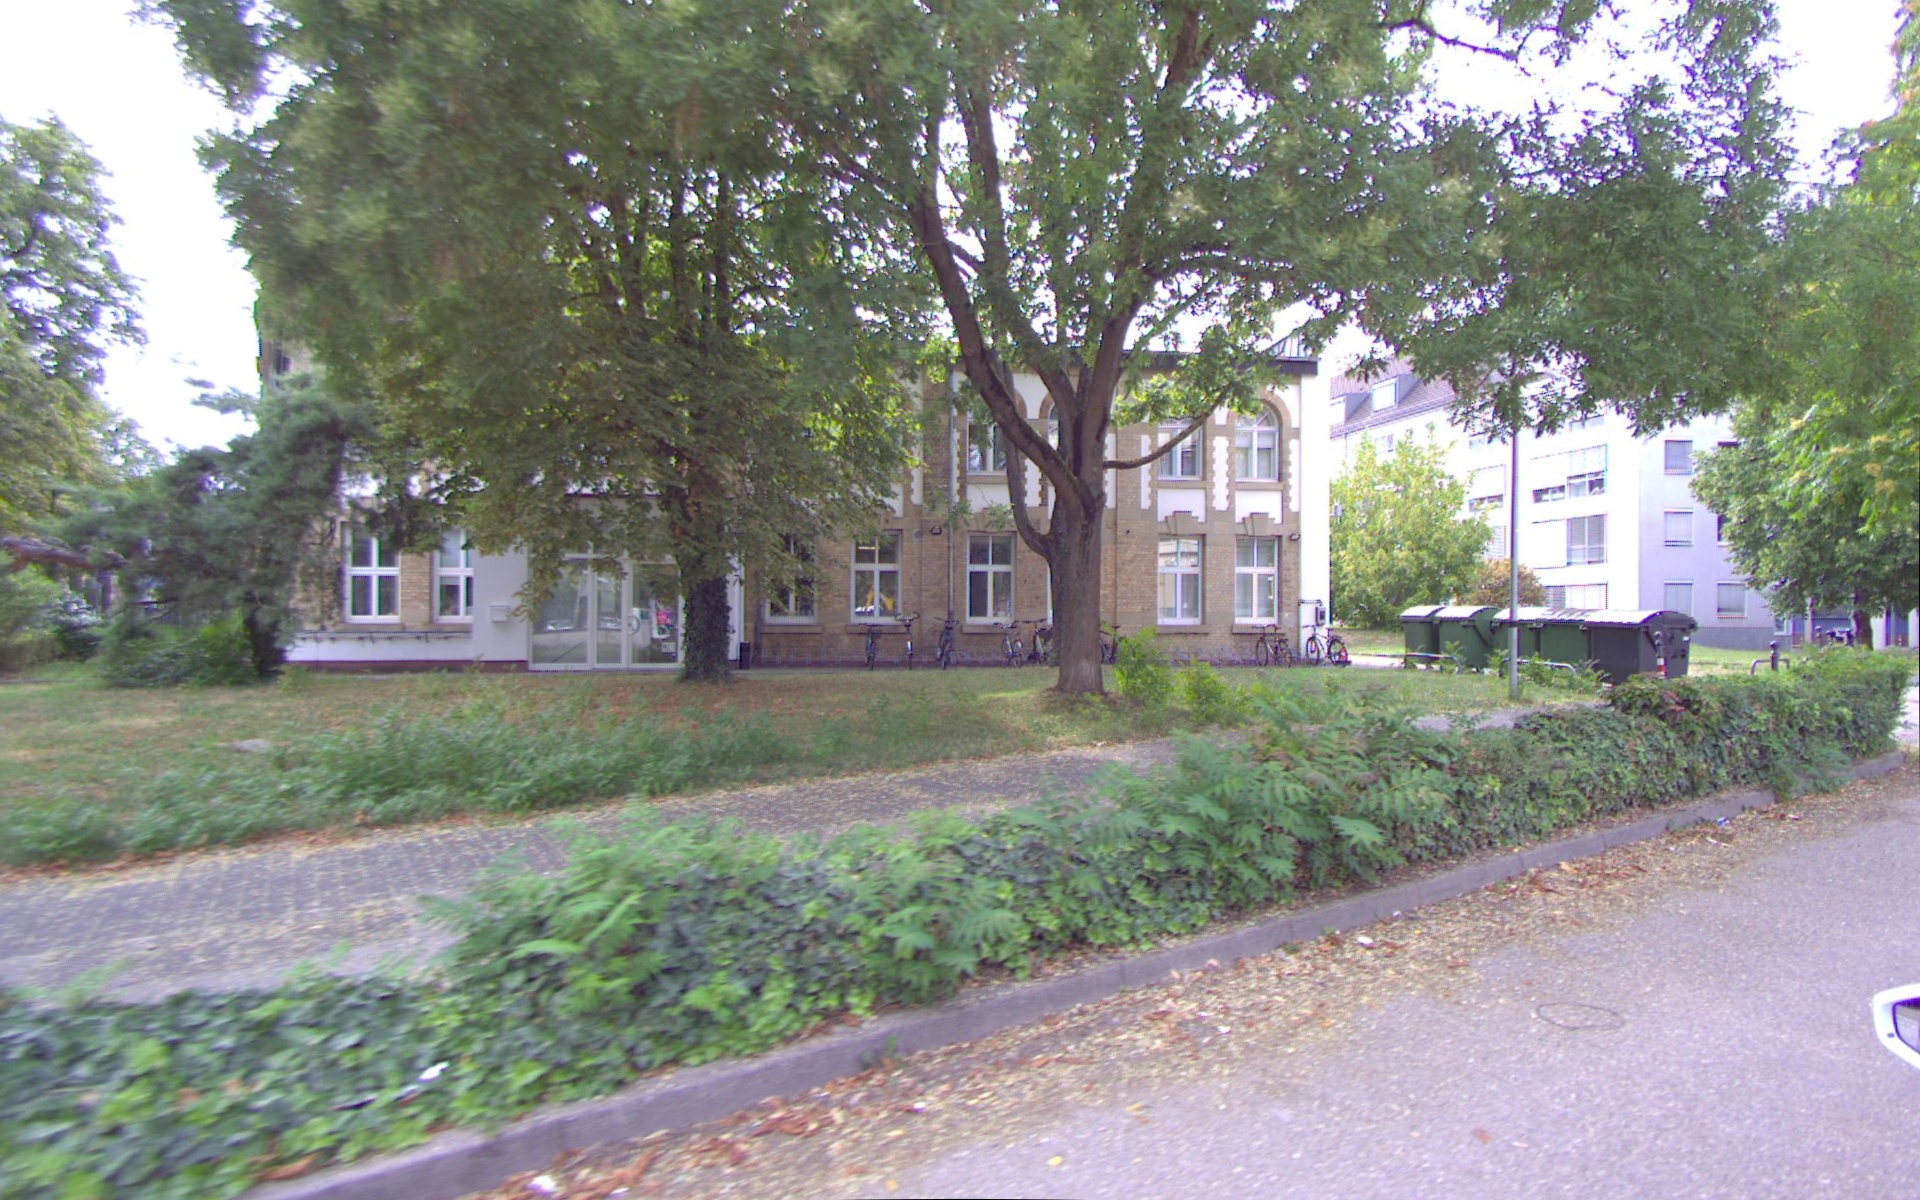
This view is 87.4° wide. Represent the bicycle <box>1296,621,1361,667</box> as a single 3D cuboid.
[{"bbox_3d":[9.084,1.073,24.836,0.584,1.057,1.974,0,0,-10],"label":"bicycle"}]

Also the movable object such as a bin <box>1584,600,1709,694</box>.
[{"bbox_3d":[11.063,0.734,16.234,1.101,1.449,1.282,0,0,-8],"label":"movable object such as a bin"}]

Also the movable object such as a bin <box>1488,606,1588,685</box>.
[{"bbox_3d":[10.999,0.848,19.159,1.101,1.449,1.282,0,0,-8],"label":"movable object such as a bin"}]

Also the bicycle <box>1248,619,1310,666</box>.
[{"bbox_3d":[7.776,1.017,24.557,0.584,1.057,1.974,0,0,-10],"label":"bicycle"}]

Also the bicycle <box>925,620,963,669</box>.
[{"bbox_3d":[-0.390,1.009,23.407,0.584,1.057,1.974,0,0,-10],"label":"bicycle"}]

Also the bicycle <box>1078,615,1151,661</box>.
[{"bbox_3d":[3.719,0.899,24.344,0.588,1.057,1.960,-1,0,-33],"label":"bicycle"}]

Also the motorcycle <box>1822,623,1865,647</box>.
[{"bbox_3d":[50.017,1.992,56.874,2.108,1.307,0.667,0,0,-10],"label":"motorcycle"}]

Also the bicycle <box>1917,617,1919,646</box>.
[{"bbox_3d":[40.579,1.296,41.620,1.872,1.197,0.648,0,0,-22],"label":"bicycle"}]

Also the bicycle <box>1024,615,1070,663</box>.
[{"bbox_3d":[2.024,0.893,23.727,0.584,1.057,1.974,0,0,-10],"label":"bicycle"}]

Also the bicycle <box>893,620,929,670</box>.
[{"bbox_3d":[-1.141,1.016,23.230,0.584,1.057,1.974,0,0,-10],"label":"bicycle"}]

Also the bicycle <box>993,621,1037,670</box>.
[{"bbox_3d":[1.273,1.040,23.546,0.584,1.057,1.974,0,0,-10],"label":"bicycle"}]

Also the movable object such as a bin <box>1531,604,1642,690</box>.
[{"bbox_3d":[11.067,0.805,17.793,1.101,1.449,1.282,0,0,-8],"label":"movable object such as a bin"}]

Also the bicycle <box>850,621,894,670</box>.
[{"bbox_3d":[-2.048,1.025,23.186,0.585,1.057,1.970,0,0,-17],"label":"bicycle"}]

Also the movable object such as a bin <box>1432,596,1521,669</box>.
[{"bbox_3d":[10.643,0.659,20.733,1.101,1.449,1.282,0,0,-8],"label":"movable object such as a bin"}]

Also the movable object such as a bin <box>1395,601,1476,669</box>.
[{"bbox_3d":[10.439,0.751,22.106,1.101,1.449,1.282,0,0,-8],"label":"movable object such as a bin"}]
